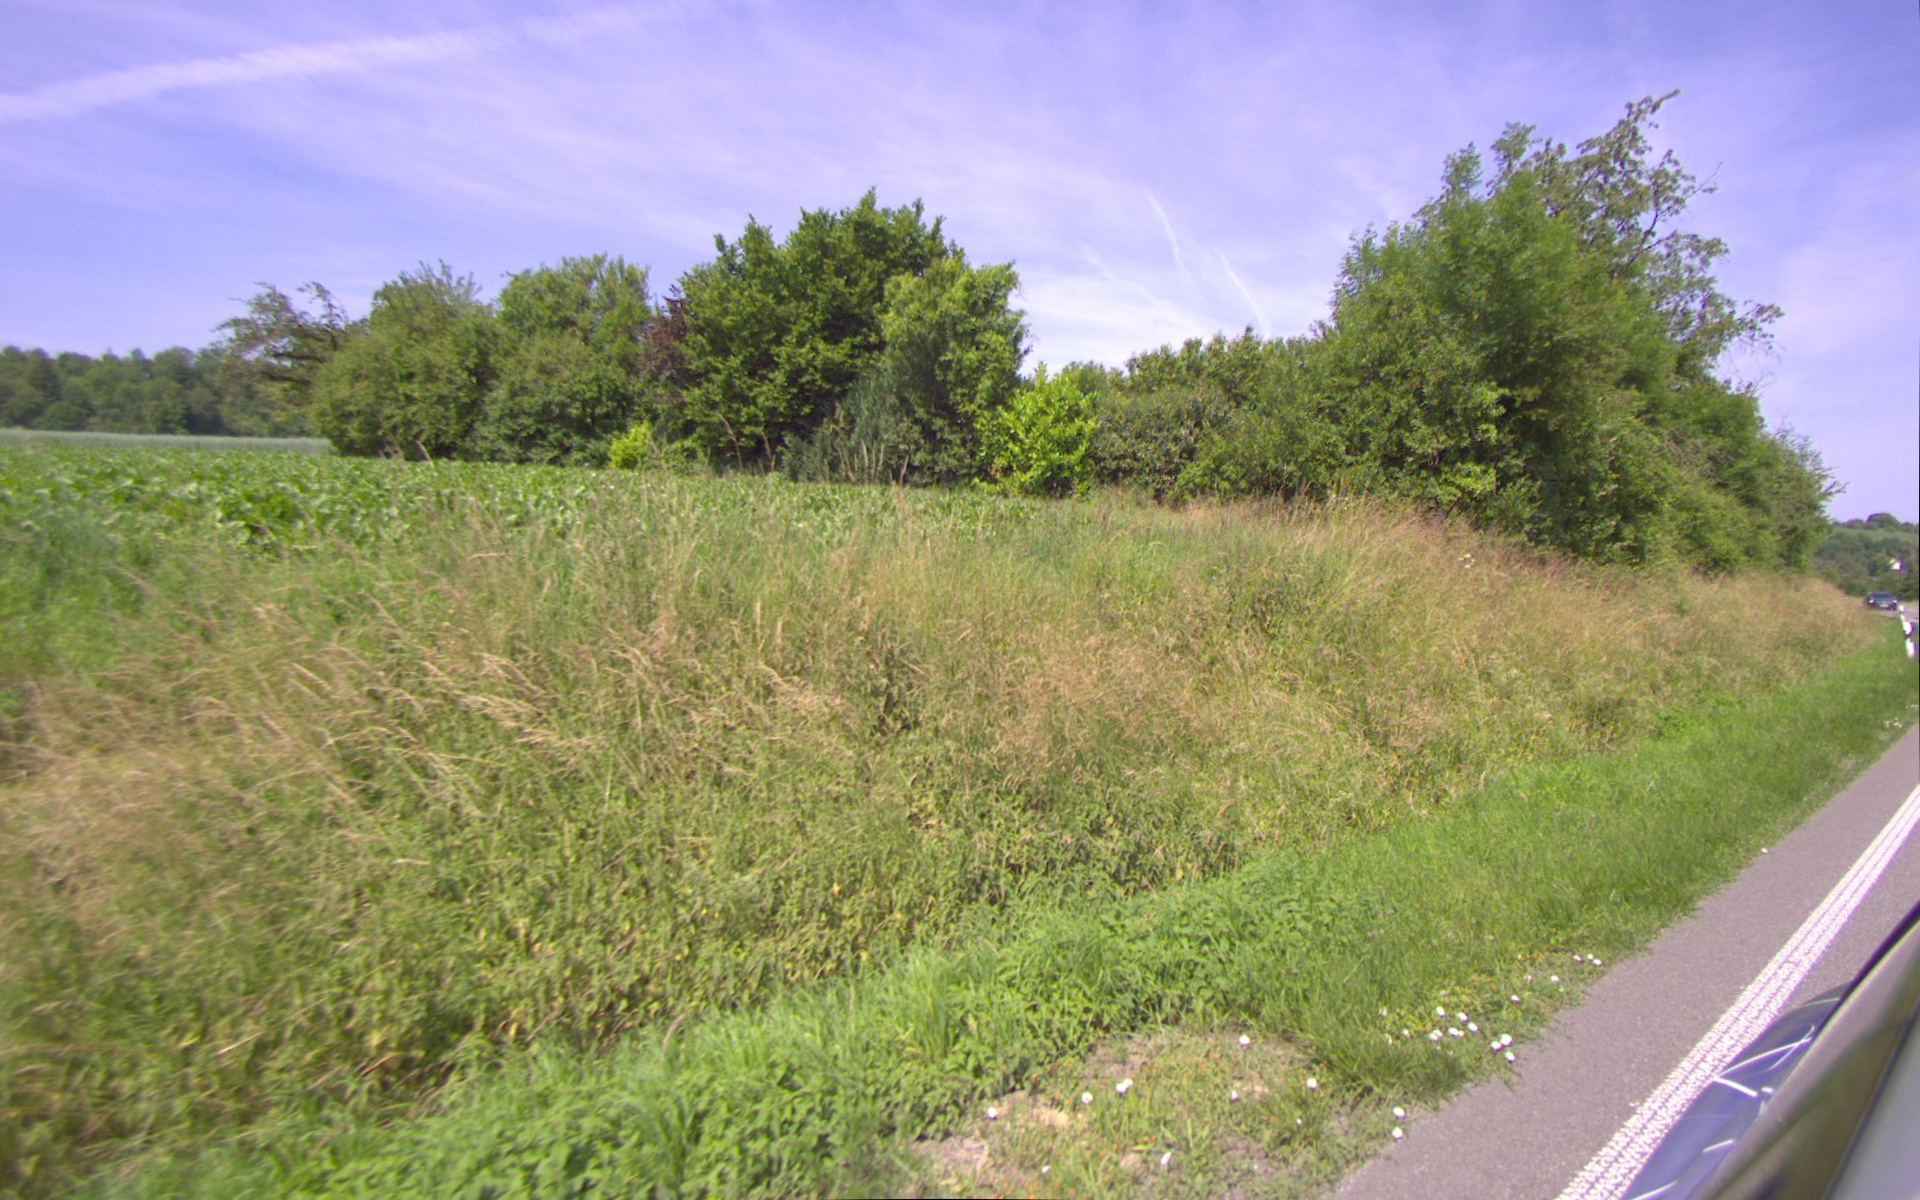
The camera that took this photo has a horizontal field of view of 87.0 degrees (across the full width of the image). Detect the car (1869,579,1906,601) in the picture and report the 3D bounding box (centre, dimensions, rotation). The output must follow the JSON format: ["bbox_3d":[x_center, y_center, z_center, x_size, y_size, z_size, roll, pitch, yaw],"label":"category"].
[{"bbox_3d":[74.993,-0.815,81.858,1.819,1.537,3.944,8,6,39],"label":"car"}]
